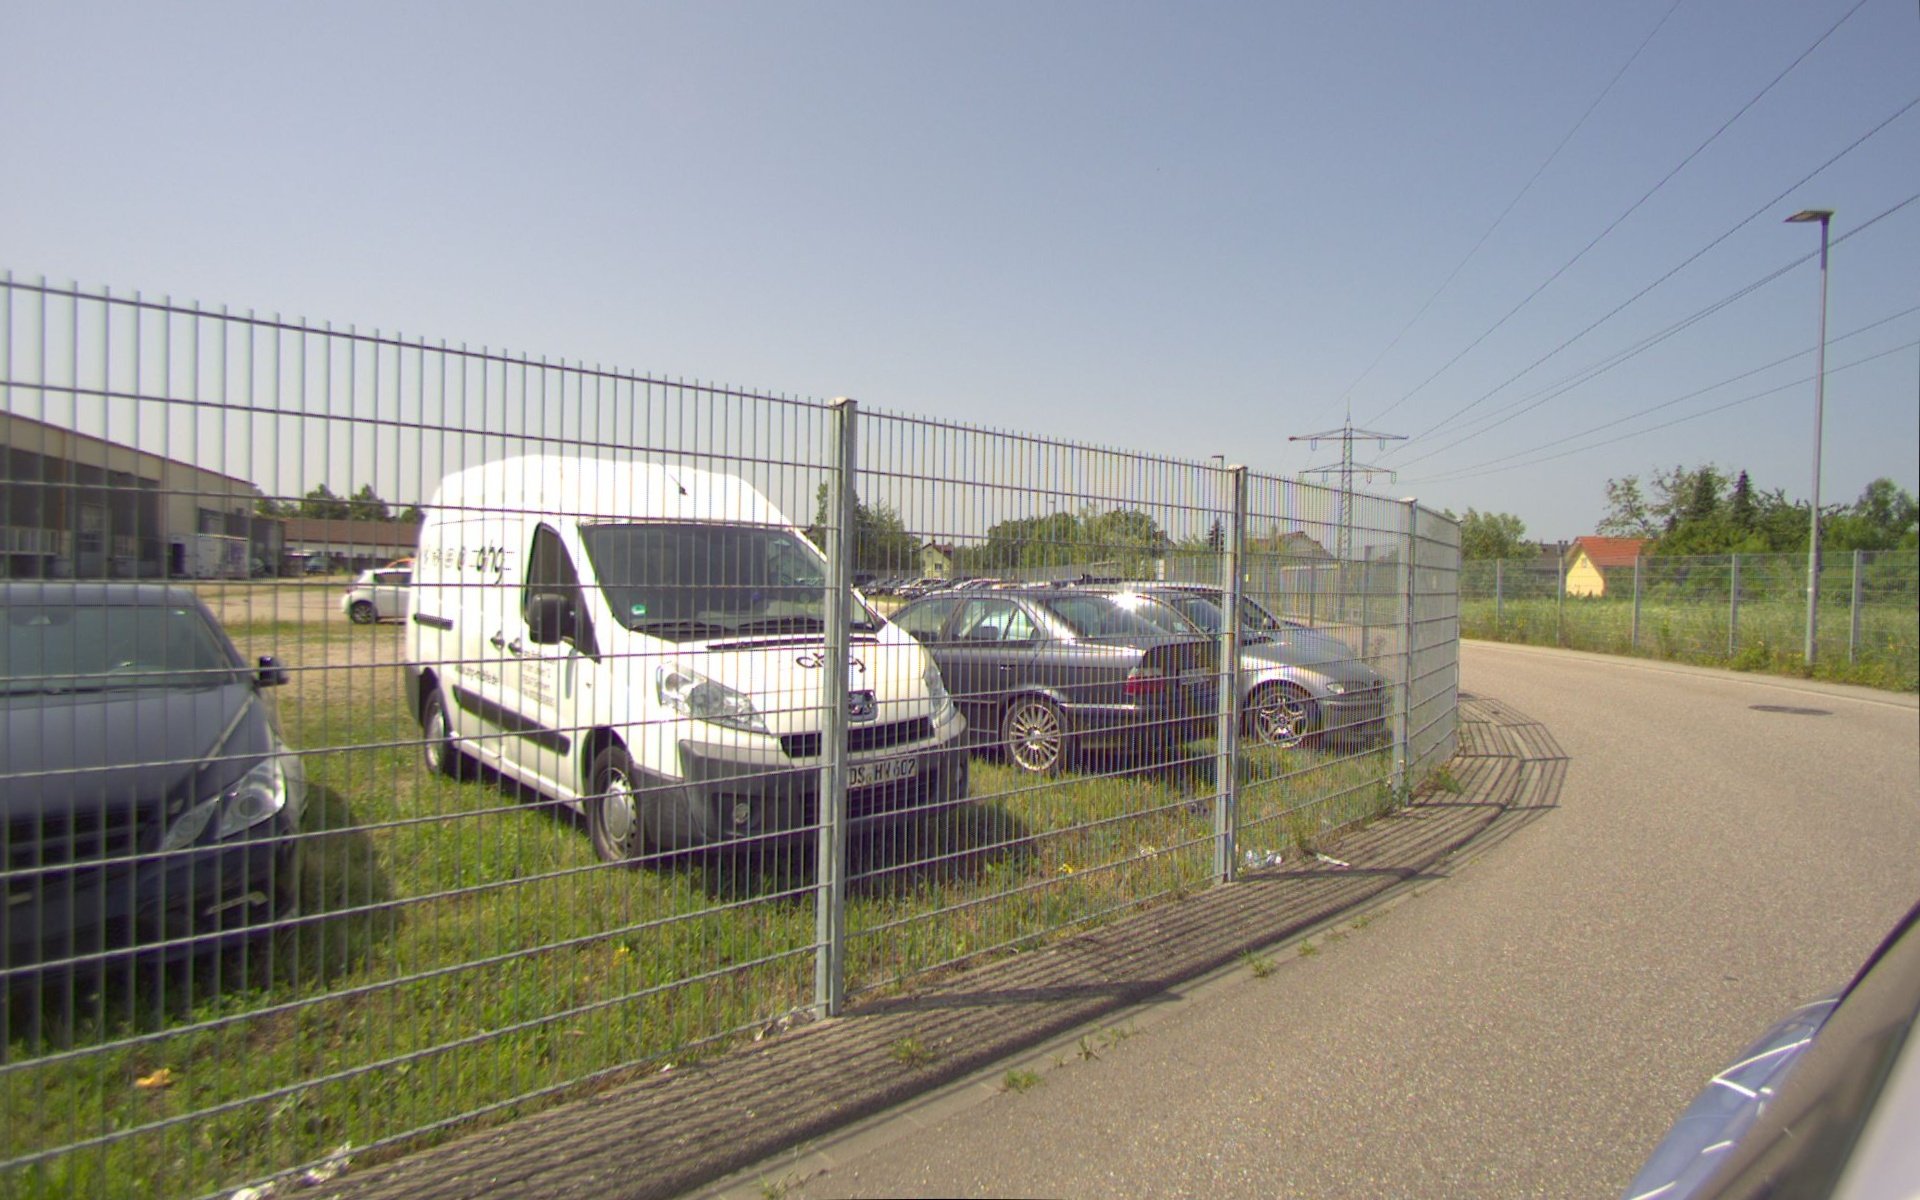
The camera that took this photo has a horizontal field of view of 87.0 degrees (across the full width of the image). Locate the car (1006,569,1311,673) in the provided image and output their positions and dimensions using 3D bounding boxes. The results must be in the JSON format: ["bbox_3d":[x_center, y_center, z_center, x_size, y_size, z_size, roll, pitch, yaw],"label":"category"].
[{"bbox_3d":[3.039,0.297,16.202,4.464,1.492,1.826,1,1,-1],"label":"car"}]

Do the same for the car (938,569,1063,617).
[{"bbox_3d":[1.373,-0.269,34.977,4.093,1.492,1.640,-2,1,-5],"label":"car"}]

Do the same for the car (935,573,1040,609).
[{"bbox_3d":[1.105,-0.387,41.470,4.093,1.354,1.640,-2,1,-5],"label":"car"}]

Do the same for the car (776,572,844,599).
[{"bbox_3d":[-8.731,-0.831,58.862,3.693,1.455,1.615,2,0,-18],"label":"car"}]

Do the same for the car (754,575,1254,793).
[{"bbox_3d":[0.183,0.513,8.651,4.190,1.374,1.593,2,2,41],"label":"car"}]

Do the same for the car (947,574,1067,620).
[{"bbox_3d":[1.459,-0.104,32.082,3.602,1.371,1.742,1,1,-3],"label":"car"}]

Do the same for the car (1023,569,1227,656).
[{"bbox_3d":[3.065,0.205,19.222,3.480,1.520,1.713,1,1,-4],"label":"car"}]

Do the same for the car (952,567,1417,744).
[{"bbox_3d":[2.153,0.414,10.256,4.326,1.412,1.598,2,2,33],"label":"car"}]

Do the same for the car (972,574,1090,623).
[{"bbox_3d":[2.039,-0.056,29.599,3.212,1.371,1.530,1,1,-6],"label":"car"}]

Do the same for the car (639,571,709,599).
[{"bbox_3d":[-16.382,-0.863,57.875,3.748,1.480,1.592,2,0,-18],"label":"car"}]

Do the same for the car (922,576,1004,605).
[{"bbox_3d":[0.122,-0.527,52.656,4.093,1.354,1.640,-2,1,-5],"label":"car"}]

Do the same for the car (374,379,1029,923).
[{"bbox_3d":[-2.133,0.117,6.654,1.874,2.176,5.333,0,2,-42],"label":"car"}]

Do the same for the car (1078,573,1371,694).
[{"bbox_3d":[3.395,0.394,13.433,3.409,1.440,1.637,1,1,-1],"label":"car"}]

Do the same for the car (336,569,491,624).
[{"bbox_3d":[-15.032,-0.104,28.022,3.590,1.453,1.539,1,1,-21],"label":"car"}]

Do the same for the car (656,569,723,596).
[{"bbox_3d":[-16.266,-1.052,60.810,3.748,1.480,1.592,2,0,-18],"label":"car"}]

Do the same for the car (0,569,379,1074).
[{"bbox_3d":[-4.080,0.574,4.562,1.872,1.377,4.431,0,2,-39],"label":"car"}]

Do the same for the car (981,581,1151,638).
[{"bbox_3d":[2.710,0.224,26.427,4.113,1.371,1.725,1,1,-4],"label":"car"}]

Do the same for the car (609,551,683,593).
[{"bbox_3d":[-21.264,-1.854,68.595,4.646,2.617,1.985,2,0,-18],"label":"car"}]

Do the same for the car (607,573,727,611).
[{"bbox_3d":[-11.509,-0.315,39.880,4.428,1.368,1.630,1,1,-17],"label":"car"}]
